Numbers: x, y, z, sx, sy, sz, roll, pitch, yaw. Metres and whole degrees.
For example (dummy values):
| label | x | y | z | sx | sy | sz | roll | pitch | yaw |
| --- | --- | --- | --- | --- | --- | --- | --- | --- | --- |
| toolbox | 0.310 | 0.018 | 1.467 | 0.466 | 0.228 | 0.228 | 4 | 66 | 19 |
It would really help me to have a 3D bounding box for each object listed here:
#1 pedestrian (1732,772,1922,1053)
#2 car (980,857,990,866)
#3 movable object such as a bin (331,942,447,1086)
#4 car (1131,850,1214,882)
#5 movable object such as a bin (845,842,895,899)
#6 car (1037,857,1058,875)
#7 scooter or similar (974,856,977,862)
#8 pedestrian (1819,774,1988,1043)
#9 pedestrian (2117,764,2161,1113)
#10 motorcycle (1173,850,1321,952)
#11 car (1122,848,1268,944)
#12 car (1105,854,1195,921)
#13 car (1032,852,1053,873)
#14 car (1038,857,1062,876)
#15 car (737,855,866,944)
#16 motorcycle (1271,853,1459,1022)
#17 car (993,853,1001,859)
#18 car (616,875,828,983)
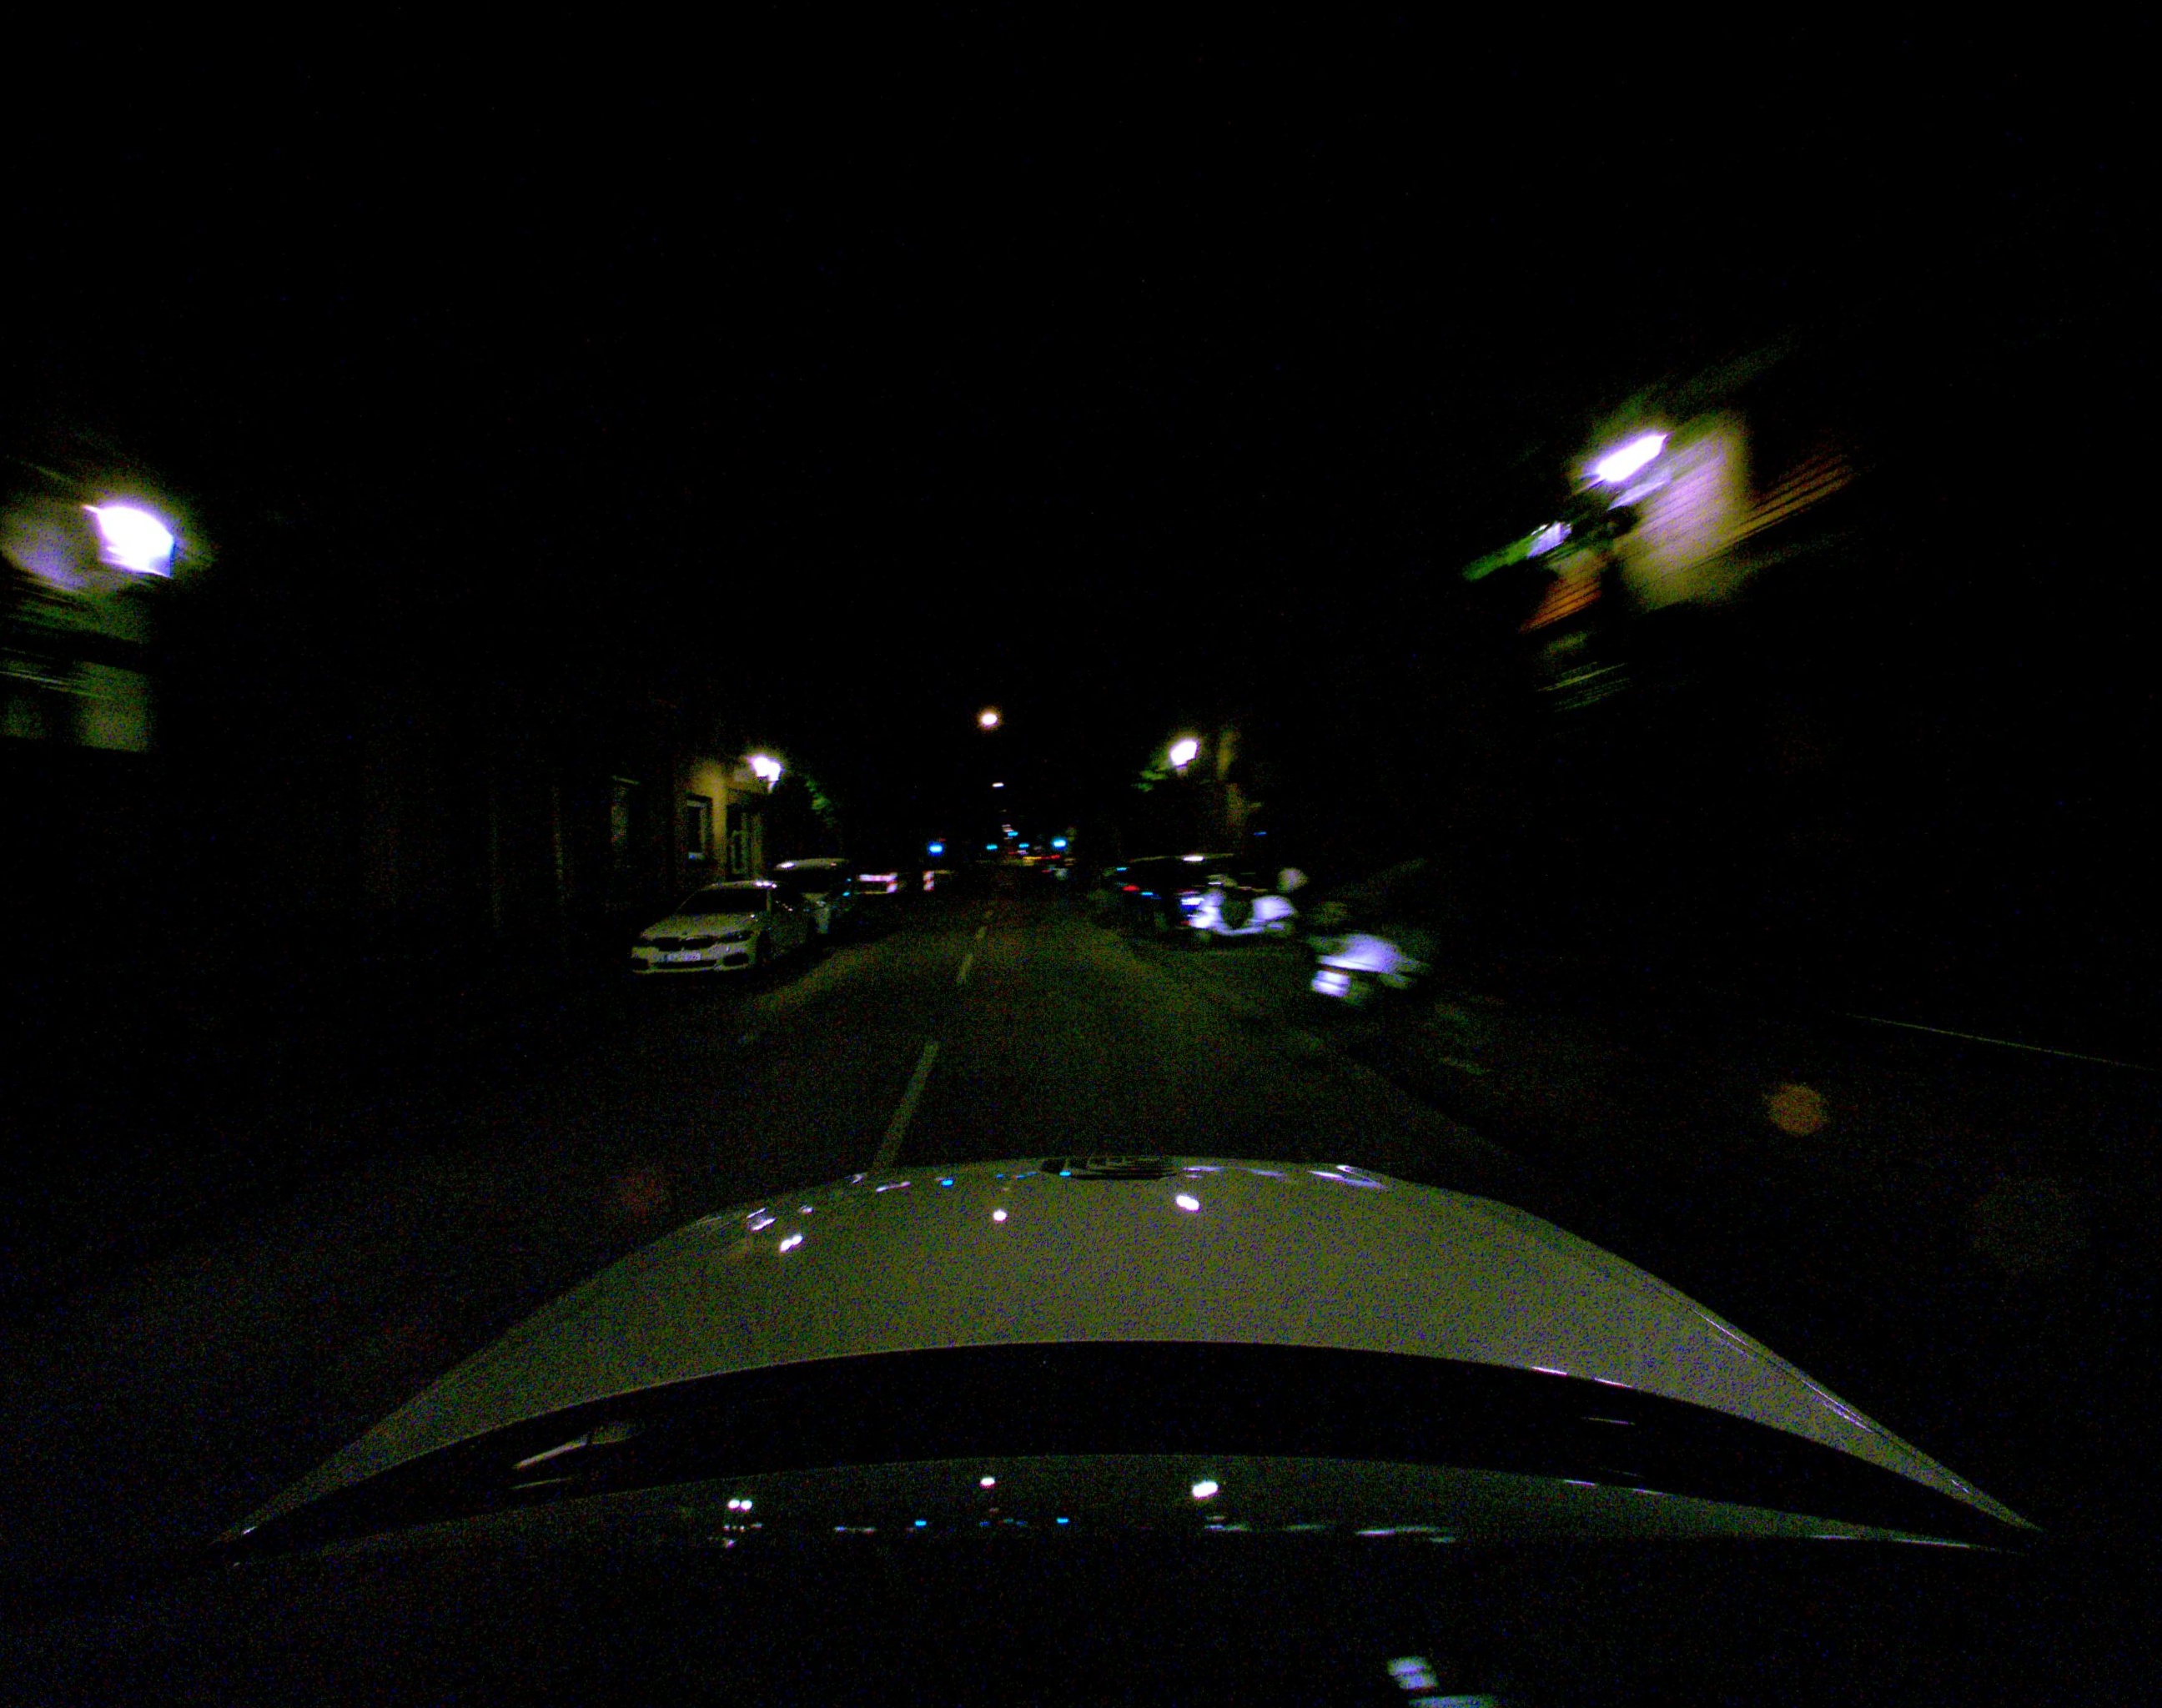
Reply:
| label | x | y | z | sx | sy | sz | roll | pitch | yaw |
| --- | --- | --- | --- | --- | --- | --- | --- | --- | --- |
| pedestrian | 4.899 | 0.361 | 5.389 | 0.506 | 1.709 | 0.704 | -3 | -1 | -4 |
| car | -17.204 | 1.354 | 145.828 | 1.668 | 1.443 | 4.197 | -2 | 1 | -5 |
| movable object such as a bin | -5.845 | 1.310 | 6.882 | 0.617 | 1.049 | 0.693 | -3 | -2 | 45 |
| car | 4.803 | 0.657 | 43.074 | 4.010 | 1.422 | 1.847 | -3 | -2 | -7 |
| movable object such as a bin | -10.464 | 0.798 | 40.645 | 1.568 | 2.626 | 3.904 | -3 | 0 | -4 |
| car | -3.070 | 1.047 | 73.584 | 1.683 | 1.420 | 4.435 | -3 | 0 | -5 |
| scooter or similar | -22.249 | 1.122 | 171.388 | 0.527 | 1.165 | 2.502 | -4 | -1 | -5 |
| pedestrian | 5.577 | 0.350 | 5.551 | 0.476 | 1.709 | 0.570 | -3 | -1 | -4 |
| pedestrian | 5.451 | 0.381 | 3.463 | 0.805 | 1.631 | 0.965 | -2 | -1 | -2 |
| motorcycle | 2.641 | 0.716 | 13.043 | 2.056 | 1.406 | 0.920 | -4 | 0 | -15 |
| car | 2.031 | 0.730 | 15.853 | 1.730 | 1.501 | 4.457 | -3 | -1 | -6 |
| car | 1.659 | 0.787 | 20.917 | 1.732 | 1.454 | 3.996 | -3 | 0 | -3 |
| car | -3.801 | 0.820 | 79.586 | 1.733 | 1.855 | 4.306 | -3 | 0 | -7 |
| car | -2.670 | 1.034 | 68.650 | 1.737 | 1.477 | 3.994 | -5 | 0 | -4 |
| car | -6.695 | 0.998 | 20.093 | 1.880 | 1.843 | 4.805 | -2 | 0 | -6 |
| motorcycle | 2.747 | 0.713 | 7.766 | 1.955 | 1.353 | 0.754 | -3 | -1 | -41 |
| car | -22.480 | 0.472 | 217.706 | 1.870 | 1.544 | 4.197 | -2 | 1 | -5 |
| car | -6.030 | 1.162 | 14.428 | 1.835 | 1.450 | 4.874 | -2 | -1 | -4 |
